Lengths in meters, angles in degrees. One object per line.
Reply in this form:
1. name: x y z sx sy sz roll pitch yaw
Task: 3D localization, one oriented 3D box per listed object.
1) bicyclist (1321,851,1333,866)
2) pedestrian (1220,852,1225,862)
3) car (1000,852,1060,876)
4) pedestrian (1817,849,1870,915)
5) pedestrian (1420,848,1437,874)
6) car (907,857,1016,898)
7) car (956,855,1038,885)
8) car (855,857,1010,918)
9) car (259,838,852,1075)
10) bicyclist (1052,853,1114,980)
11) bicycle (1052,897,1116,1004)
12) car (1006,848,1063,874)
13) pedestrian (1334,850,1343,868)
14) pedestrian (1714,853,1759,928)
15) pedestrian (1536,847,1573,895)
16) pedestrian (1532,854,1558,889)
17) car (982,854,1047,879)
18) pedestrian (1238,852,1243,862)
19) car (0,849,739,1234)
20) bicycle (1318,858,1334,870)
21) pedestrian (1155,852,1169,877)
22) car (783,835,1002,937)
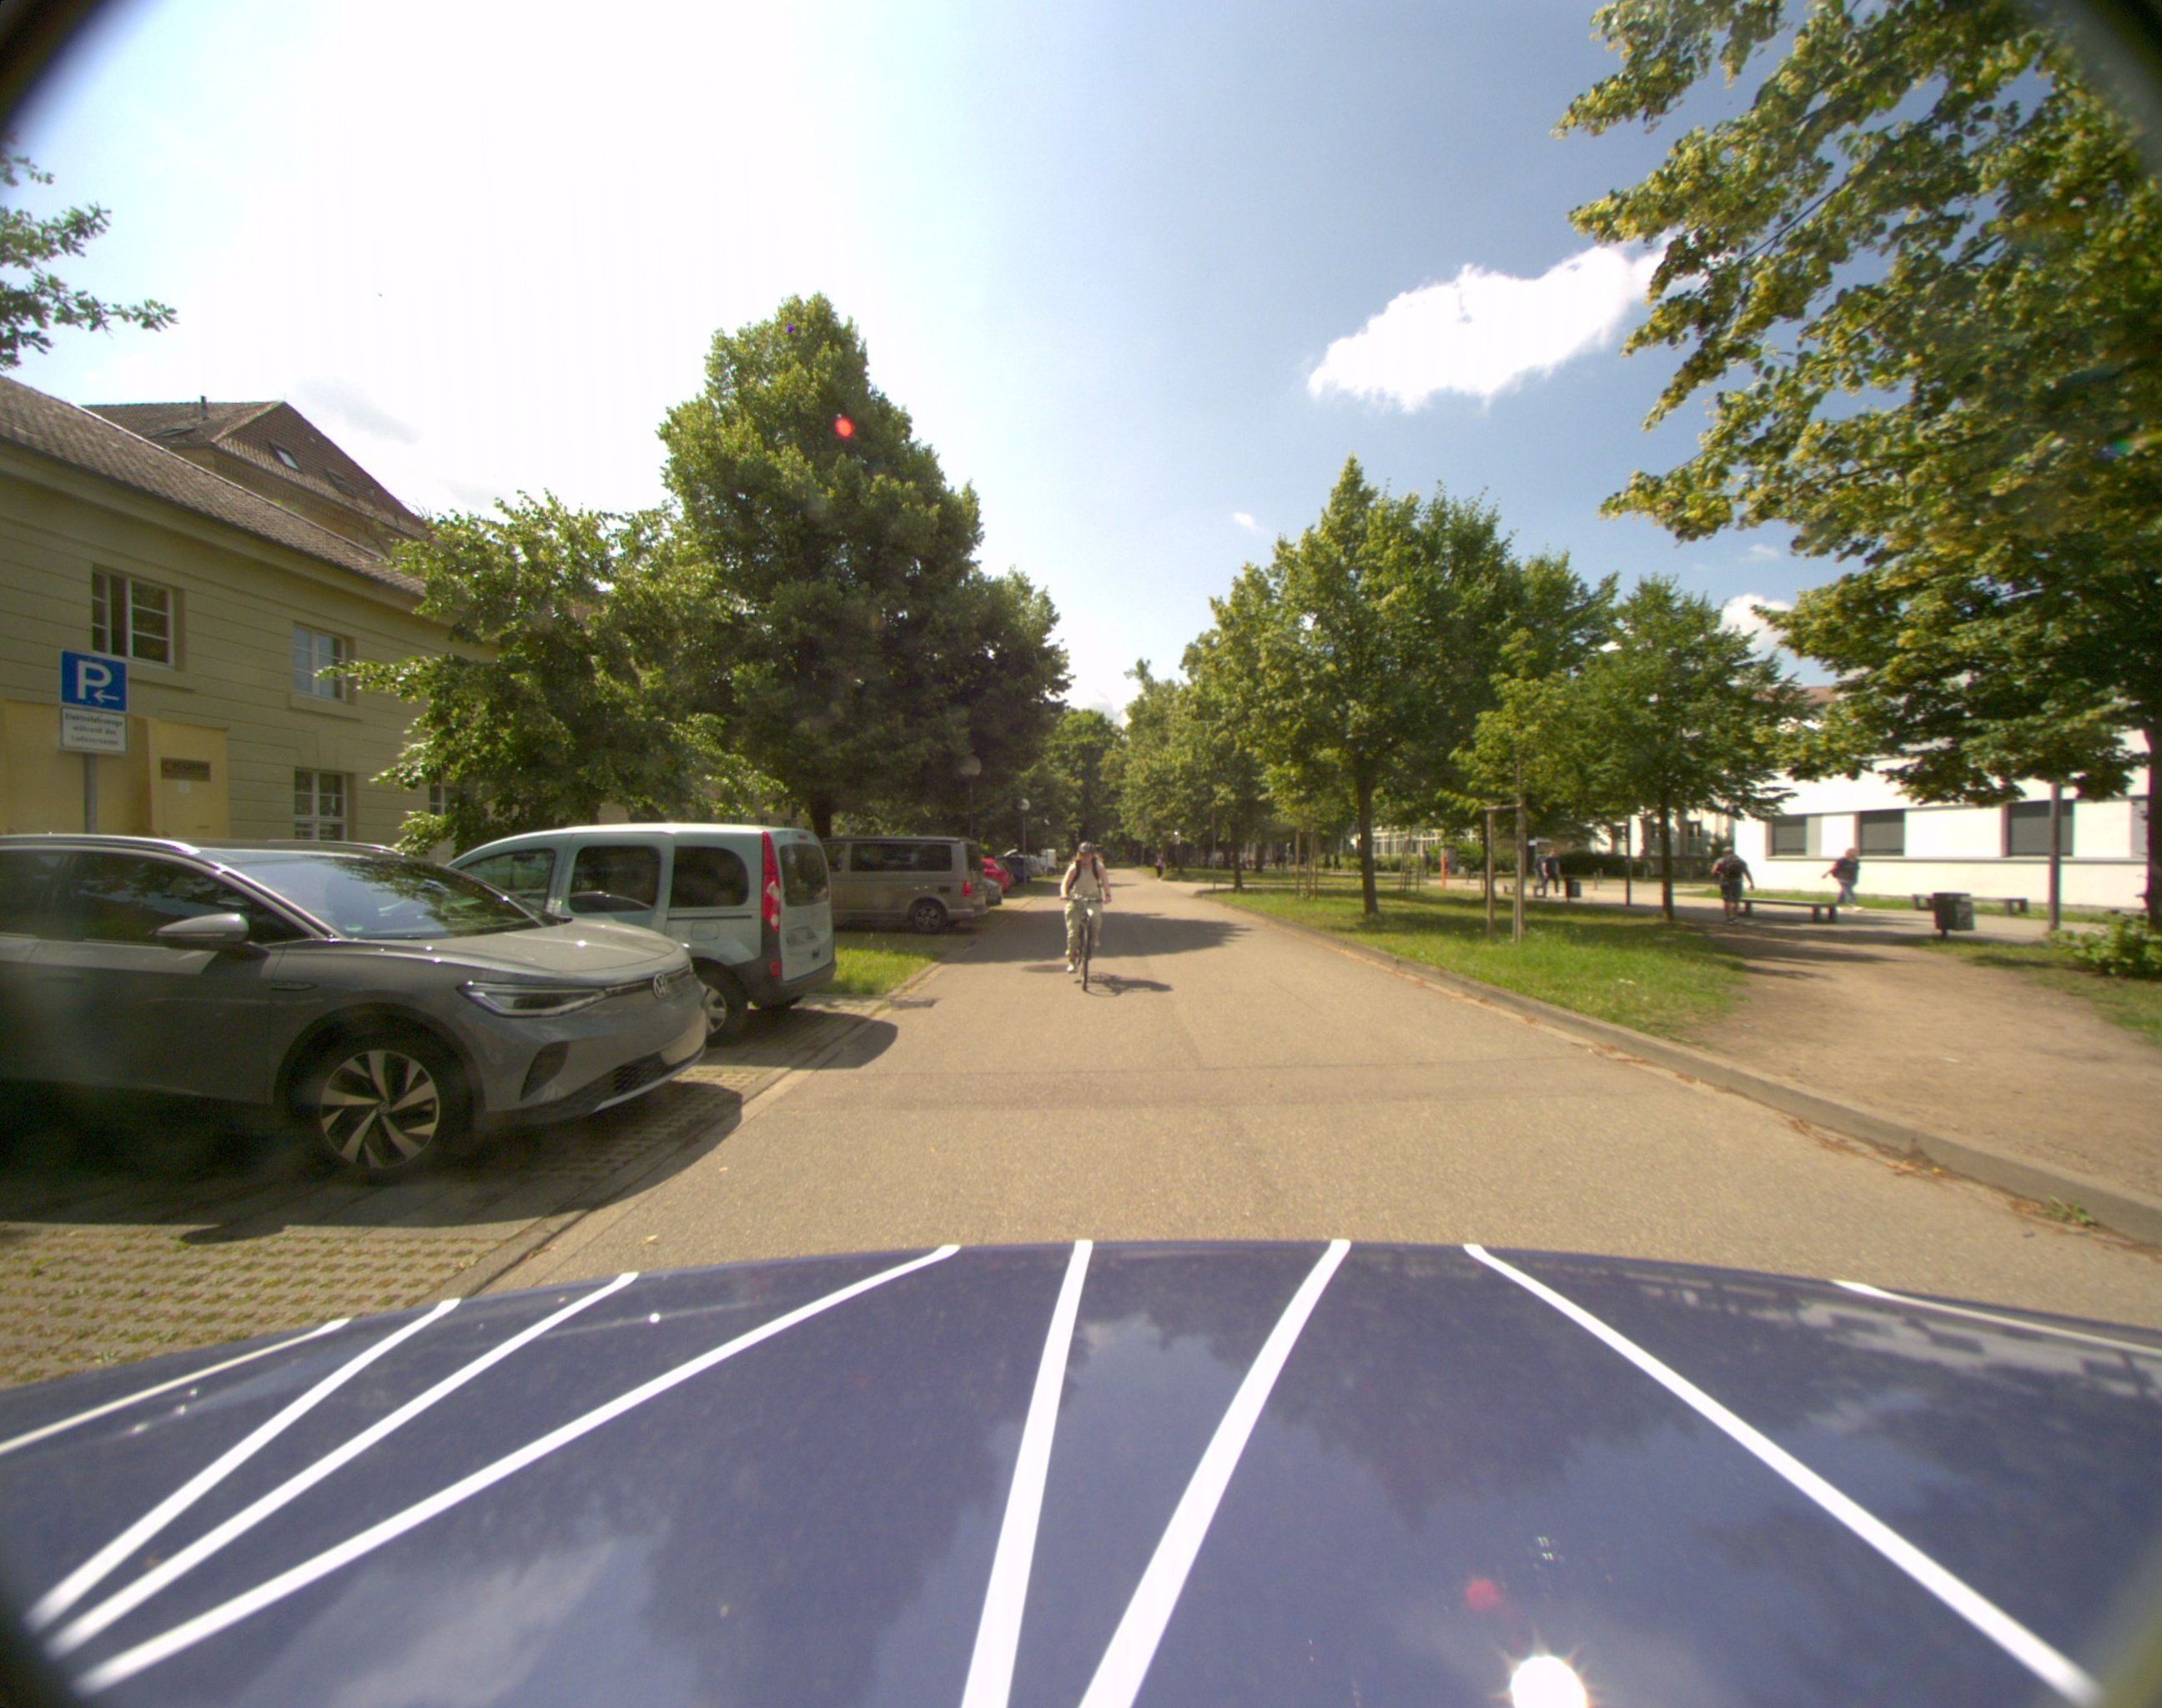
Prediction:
1. bicyclist: 22.001 0.426 67.983 0.778 1.325 0.828 0 1 1
2. pedestrian: 23.036 0.472 123.372 0.765 1.643 1.242 0 1 12
3. car: -3.431 0.678 51.326 3.851 1.566 1.702 0 1 2
4. pedestrian: 20.009 0.721 19.951 0.628 1.678 0.725 0 1 1
5. pedestrian: 22.961 0.483 50.242 0.796 1.712 0.635 0 1 1
6. car: -4.569 0.891 29.393 3.851 1.525 1.786 0 1 2
7. car: -4.170 0.788 38.005 3.851 1.479 1.724 0 1 2
8. car: -3.986 0.890 20.831 3.851 1.585 1.786 0 1 2
9. car: -4.334 0.789 6.787 3.997 1.827 1.824 0 1 0
10. bicyclist: 0.033 0.732 9.453 0.675 1.470 1.063 -2 1 1
11. bicycle: 0.052 1.132 9.524 0.675 1.066 2.136 -2 0 1
12. car: -3.281 0.478 54.087 3.851 1.869 1.781 0 1 2
13. pedestrian: 23.622 0.457 69.808 0.596 1.619 0.763 0 1 1
14. pedestrian: 14.702 0.792 17.036 0.725 1.647 0.717 1 1 42
15. pedestrian: 17.801 0.627 28.593 0.793 1.765 1.095 0 1 7
16. pedestrian: 22.500 0.846 36.829 0.848 1.639 0.804 0 1 12
17. car: -4.100 0.735 47.250 3.851 1.513 1.724 0 1 2
18. pedestrian: 25.106 0.437 119.940 0.765 1.643 1.242 0 1 12
19. car: -4.531 0.814 4.260 4.359 1.642 1.895 1 0 0
20. bicycle: 21.993 0.866 68.292 0.778 1.026 2.149 0 0 1
21. pedestrian: 4.750 0.600 44.671 0.796 1.479 0.635 0 1 1
22. car: -3.837 0.625 15.970 4.048 2.002 2.000 0 1 2
